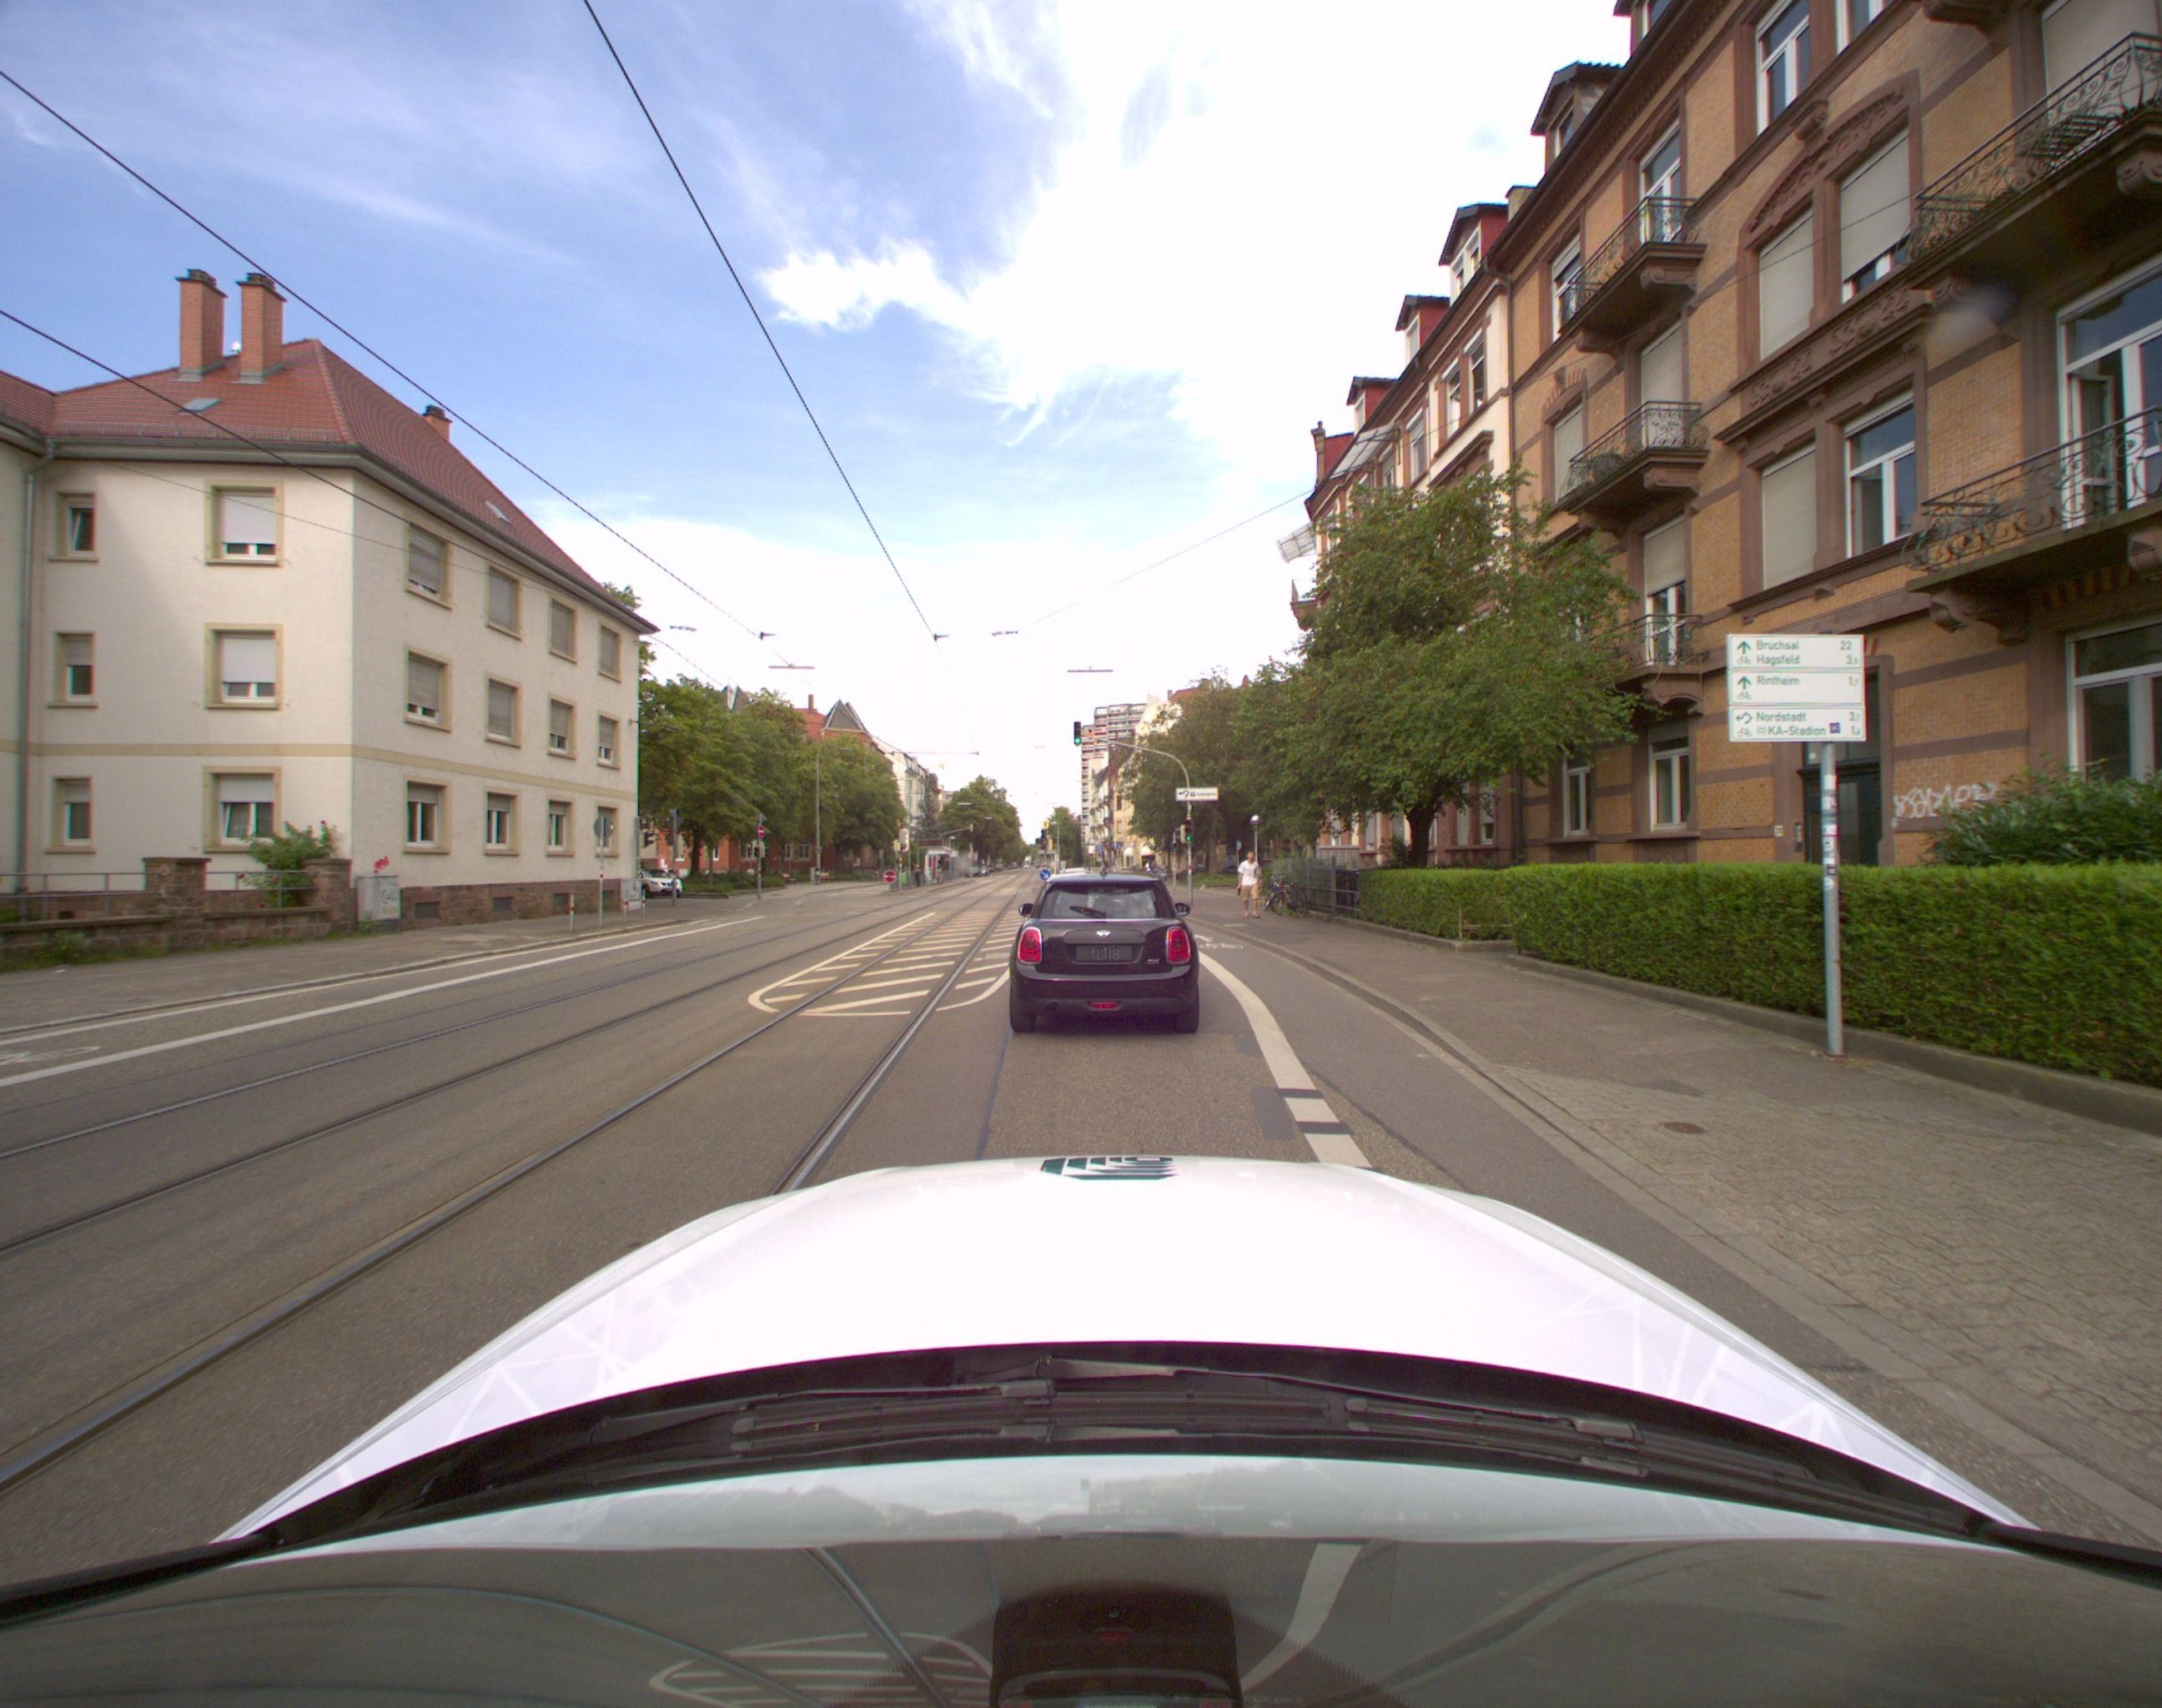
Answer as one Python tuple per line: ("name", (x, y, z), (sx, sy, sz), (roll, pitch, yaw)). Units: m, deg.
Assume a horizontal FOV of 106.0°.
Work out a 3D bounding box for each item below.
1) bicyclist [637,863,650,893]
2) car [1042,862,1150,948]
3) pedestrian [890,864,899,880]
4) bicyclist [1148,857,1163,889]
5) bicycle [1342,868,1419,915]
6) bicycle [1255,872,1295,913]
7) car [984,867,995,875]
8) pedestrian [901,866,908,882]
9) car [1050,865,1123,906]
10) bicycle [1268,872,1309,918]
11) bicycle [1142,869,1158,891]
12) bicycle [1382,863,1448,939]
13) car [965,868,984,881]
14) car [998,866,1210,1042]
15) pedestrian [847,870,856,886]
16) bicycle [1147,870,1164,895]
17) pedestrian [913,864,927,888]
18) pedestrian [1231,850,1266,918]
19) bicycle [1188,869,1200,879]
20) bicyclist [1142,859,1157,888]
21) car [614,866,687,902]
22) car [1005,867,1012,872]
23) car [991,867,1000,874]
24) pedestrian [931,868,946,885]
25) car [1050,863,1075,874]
("bicyclist", (-25.855, 1.408, 48.123), (0.614, 1.775, 0.902), (0, -1, -30))
("car", (0.291, 0.949, 16.608), (1.920, 1.510, 4.000), (-1, -1, 0))
("pedestrian", (-20.371, 1.923, 88.972), (0.832, 1.703, 0.730), (0, -1, -8))
("bicyclist", (3.716, 0.950, 40.833), (0.593, 1.550, 1.012), (-1, -1, -3))
("bicycle", (6.724, 0.834, 18.283), (1.542, 1.009, 0.509), (-1, -1, -5))
("bicycle", (5.611, 1.101, 23.622), (0.669, 1.106, 1.670), (-1, -1, -2))
("car", (-19.310, 3.516, 171.347), (1.989, 1.552, 3.996), (-1, -1, -2))
("pedestrian", (-19.740, 2.212, 91.032), (0.692, 1.719, 0.757), (-1, -1, -1))
("car", (0.306, 1.157, 30.925), (1.739, 1.441, 4.496), (-1, -1, 14))
("bicycle", (5.302, 1.034, 20.883), (0.507, 1.088, 1.548), (-4, -1, -2))
("bicycle", (3.712, 1.398, 43.987), (0.682, 1.170, 1.696), (-1, -1, -1))
("bicycle", (5.947, 0.806, 14.592), (0.514, 1.282, 1.549), (-1, -1, 0))
("car", (-13.173, 2.532, 100.829), (1.746, 1.441, 3.998), (1, -1, -1))
("car", (0.226, 0.861, 8.763), (1.745, 1.441, 4.000), (-1, -1, 1))
("pedestrian", (-23.911, 2.485, 84.817), (0.832, 1.703, 0.730), (0, -1, -8))
("bicycle", (3.725, 1.414, 40.756), (0.597, 1.170, 1.695), (-1, -1, -2))
("pedestrian", (-10.788, 1.456, 54.633), (0.851, 1.621, 0.841), (0, -1, -8))
("pedestrian", (4.447, 0.788, 21.642), (0.727, 1.754, 0.950), (-1, -1, 2))
("bicycle", (12.065, 2.151, 87.137), (0.444, 1.055, 1.659), (-2, -1, 39))
("bicyclist", (3.711, 1.050, 43.936), (0.682, 1.564, 0.998), (-1, -1, -1))
("car", (-23.110, 1.630, 43.678), (4.105, 1.721, 1.852), (-4, -4, 37))
("car", (-22.875, 4.775, 257.075), (1.989, 1.552, 3.996), (-1, -1, -2))
("car", (-20.360, 3.992, 194.264), (1.989, 1.552, 3.996), (-1, -1, -2))
("pedestrian", (-10.964, 1.746, 62.597), (1.058, 1.294, 0.983), (0, -1, -8))
("car", (-3.989, 3.172, 177.768), (5.067, 2.273, 2.368), (0, -1, -43))
